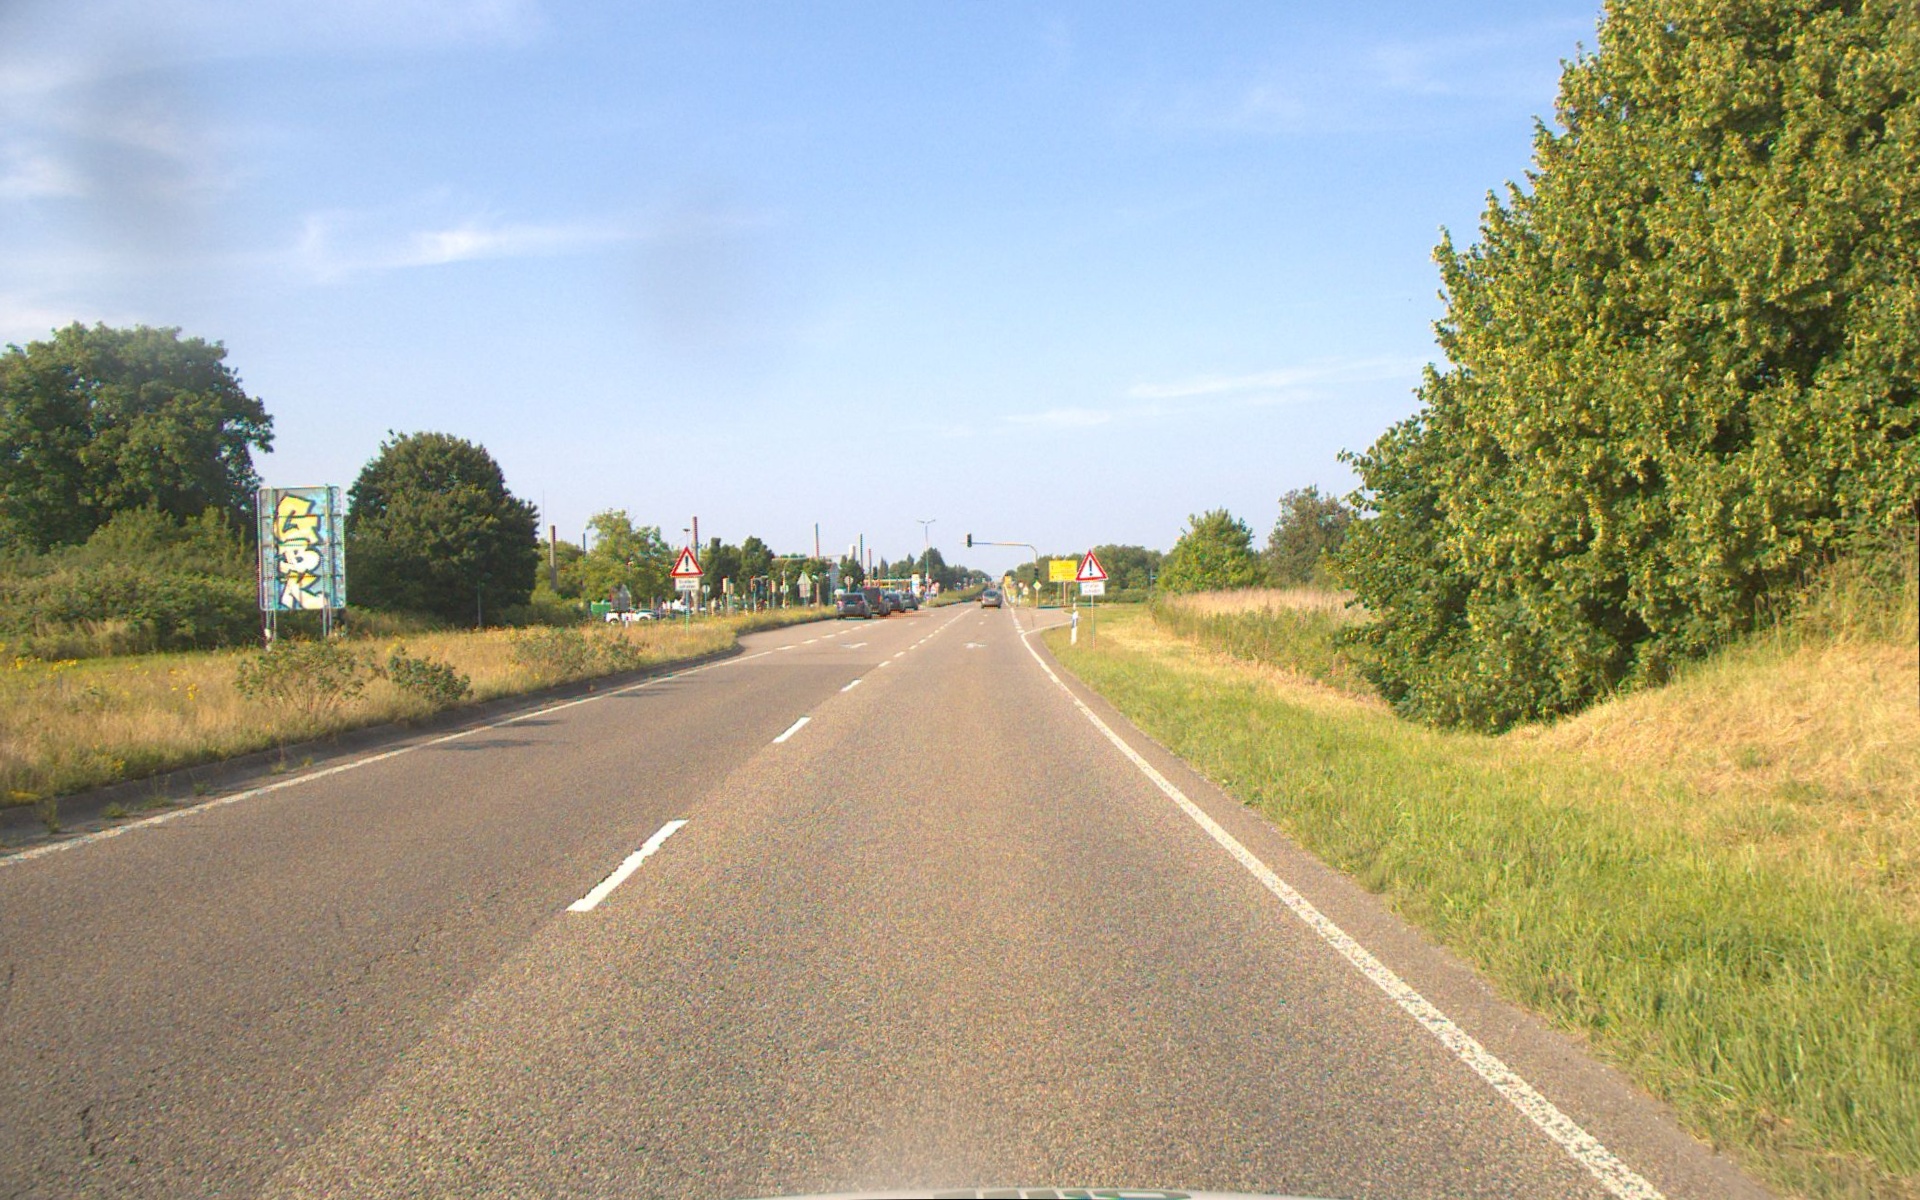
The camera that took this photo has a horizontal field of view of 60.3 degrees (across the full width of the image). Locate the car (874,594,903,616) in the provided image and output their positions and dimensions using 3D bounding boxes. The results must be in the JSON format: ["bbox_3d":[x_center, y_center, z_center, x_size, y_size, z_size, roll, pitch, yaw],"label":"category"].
[{"bbox_3d":[-5.203,0.349,120.597,1.733,1.497,4.016,-1,0,2],"label":"car"}]

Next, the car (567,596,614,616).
[{"bbox_3d":[-32.201,0.556,144.407,3.915,1.691,1.882,1,-1,-11],"label":"car"}]

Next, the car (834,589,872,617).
[{"bbox_3d":[-6.091,0.151,94.697,1.696,1.481,4.521,-1,0,2],"label":"car"}]

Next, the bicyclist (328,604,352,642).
[{"bbox_3d":[-23.376,0.858,62.396,0.457,1.414,1.048,-1,0,1],"label":"bicyclist"}]

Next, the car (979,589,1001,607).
[{"bbox_3d":[2.729,-0.190,150.508,1.952,1.579,4.001,-1,0,2],"label":"car"}]

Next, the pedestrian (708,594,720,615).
[{"bbox_3d":[-20.745,0.371,139.721,0.897,1.736,1.066,0,-1,-4],"label":"pedestrian"}]

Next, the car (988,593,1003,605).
[{"bbox_3d":[4.985,-0.149,230.076,1.952,1.624,4.002,-2,0,3],"label":"car"}]

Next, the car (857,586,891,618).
[{"bbox_3d":[-5.275,0.087,101.848,1.696,1.888,4.521,-1,0,2],"label":"car"}]

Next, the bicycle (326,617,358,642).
[{"bbox_3d":[-23.356,1.114,62.506,0.519,0.893,1.705,-1,0,1],"label":"bicycle"}]

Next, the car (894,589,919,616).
[{"bbox_3d":[-4.513,0.232,139.553,1.953,2.049,4.834,-1,-2,-1],"label":"car"}]
